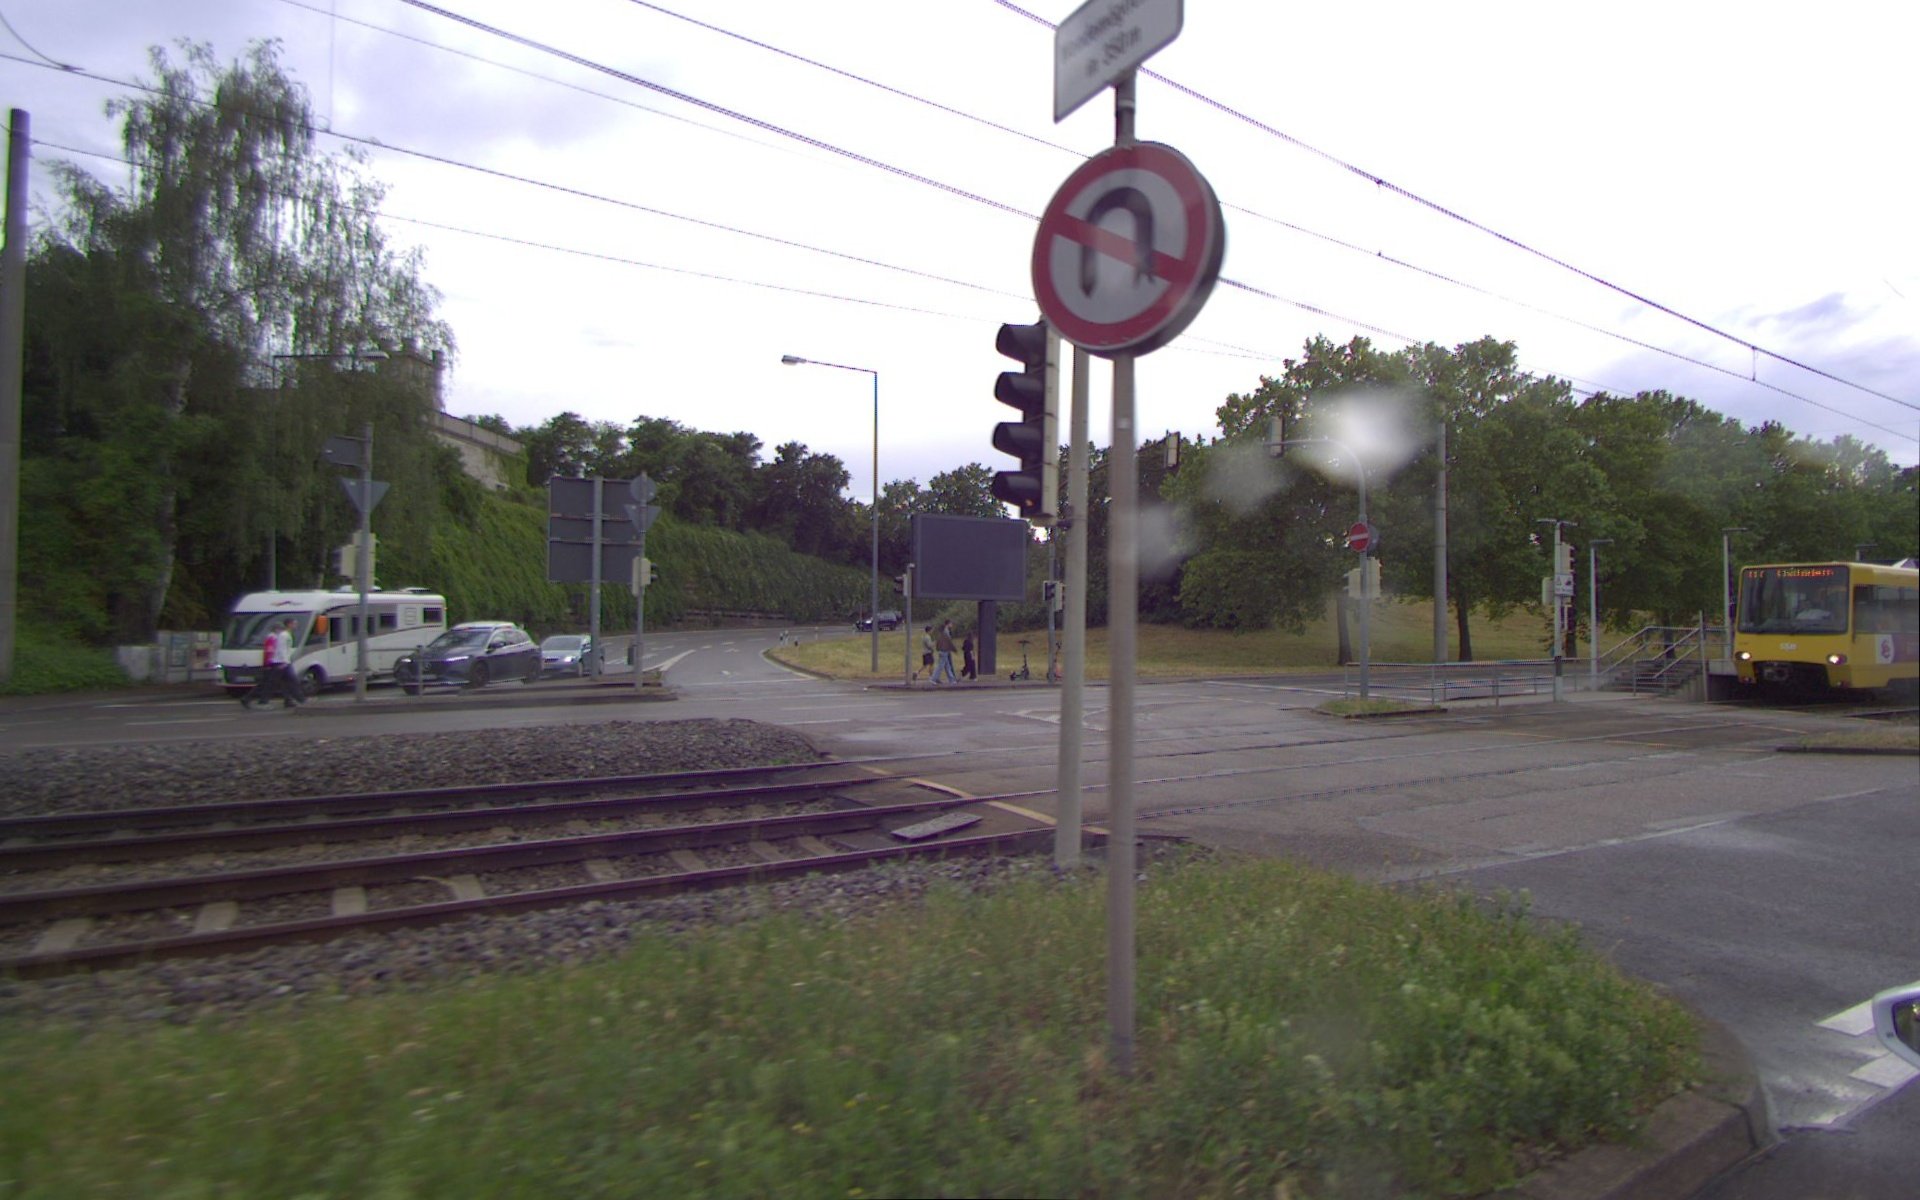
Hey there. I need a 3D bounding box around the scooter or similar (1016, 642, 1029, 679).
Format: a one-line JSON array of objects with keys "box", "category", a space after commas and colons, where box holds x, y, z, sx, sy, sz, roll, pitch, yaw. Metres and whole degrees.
[{"box": [2.064, 1.974, 32.968, 0.282, 1.177, 0.769, 0, -2, 14], "category": "scooter or similar"}]

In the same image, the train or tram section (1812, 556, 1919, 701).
[{"box": [28.939, 0.866, 30.197, 6.924, 3.985, 2.914, 2, 0, -31], "category": "train or tram section"}]

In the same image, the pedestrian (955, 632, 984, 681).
[{"box": [0.304, 1.757, 31.327, 0.713, 1.493, 0.493, 2, 0, -30], "category": "pedestrian"}]

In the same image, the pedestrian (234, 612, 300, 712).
[{"box": [-14.508, 1.294, 21.067, 0.932, 2.040, 0.885, 1, -2, -24], "category": "pedestrian"}]

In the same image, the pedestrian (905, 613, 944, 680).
[{"box": [-1.119, 1.447, 31.429, 0.858, 2.040, 0.880, 2, -2, -37], "category": "pedestrian"}]

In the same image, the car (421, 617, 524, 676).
[{"box": [-17.836, 1.671, 37.002, 1.962, 2.040, 4.522, 1, -2, -6], "category": "car"}]

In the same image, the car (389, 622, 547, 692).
[{"box": [-13.352, 1.484, 27.626, 1.960, 1.755, 4.633, 0, -1, 2], "category": "car"}]

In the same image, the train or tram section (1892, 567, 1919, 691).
[{"box": [34.240, 1.048, 33.355, 6.924, 3.985, 2.914, 2, 0, -31], "category": "train or tram section"}]

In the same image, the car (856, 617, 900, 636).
[{"box": [-7.393, 2.436, 91.390, 1.900, 1.702, 3.987, -1, -2, 35], "category": "car"}]

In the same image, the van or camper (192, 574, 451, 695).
[{"box": [-17.832, 0.966, 28.807, 2.441, 3.006, 7.378, 0, -2, 2], "category": "van or camper"}]

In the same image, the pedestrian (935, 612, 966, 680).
[{"box": [-0.287, 1.344, 29.660, 0.713, 1.981, 0.493, 2, 0, -28], "category": "pedestrian"}]

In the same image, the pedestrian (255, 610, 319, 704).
[{"box": [-13.823, 1.162, 20.654, 0.940, 1.892, 0.632, 1, -2, -24], "category": "pedestrian"}]

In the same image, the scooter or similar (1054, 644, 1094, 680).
[{"box": [3.697, 2.007, 32.596, 1.254, 1.177, 0.380, 0, -2, 11], "category": "scooter or similar"}]

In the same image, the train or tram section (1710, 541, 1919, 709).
[{"box": [23.516, 0.680, 26.959, 6.924, 3.985, 2.914, 2, 0, -31], "category": "train or tram section"}]

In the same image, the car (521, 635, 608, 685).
[{"box": [-13.504, 2.004, 34.537, 1.806, 1.586, 3.996, 1, -2, -7], "category": "car"}]

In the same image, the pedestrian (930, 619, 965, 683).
[{"box": [-0.371, 1.461, 29.038, 0.821, 1.811, 0.504, 2, 0, -28], "category": "pedestrian"}]
